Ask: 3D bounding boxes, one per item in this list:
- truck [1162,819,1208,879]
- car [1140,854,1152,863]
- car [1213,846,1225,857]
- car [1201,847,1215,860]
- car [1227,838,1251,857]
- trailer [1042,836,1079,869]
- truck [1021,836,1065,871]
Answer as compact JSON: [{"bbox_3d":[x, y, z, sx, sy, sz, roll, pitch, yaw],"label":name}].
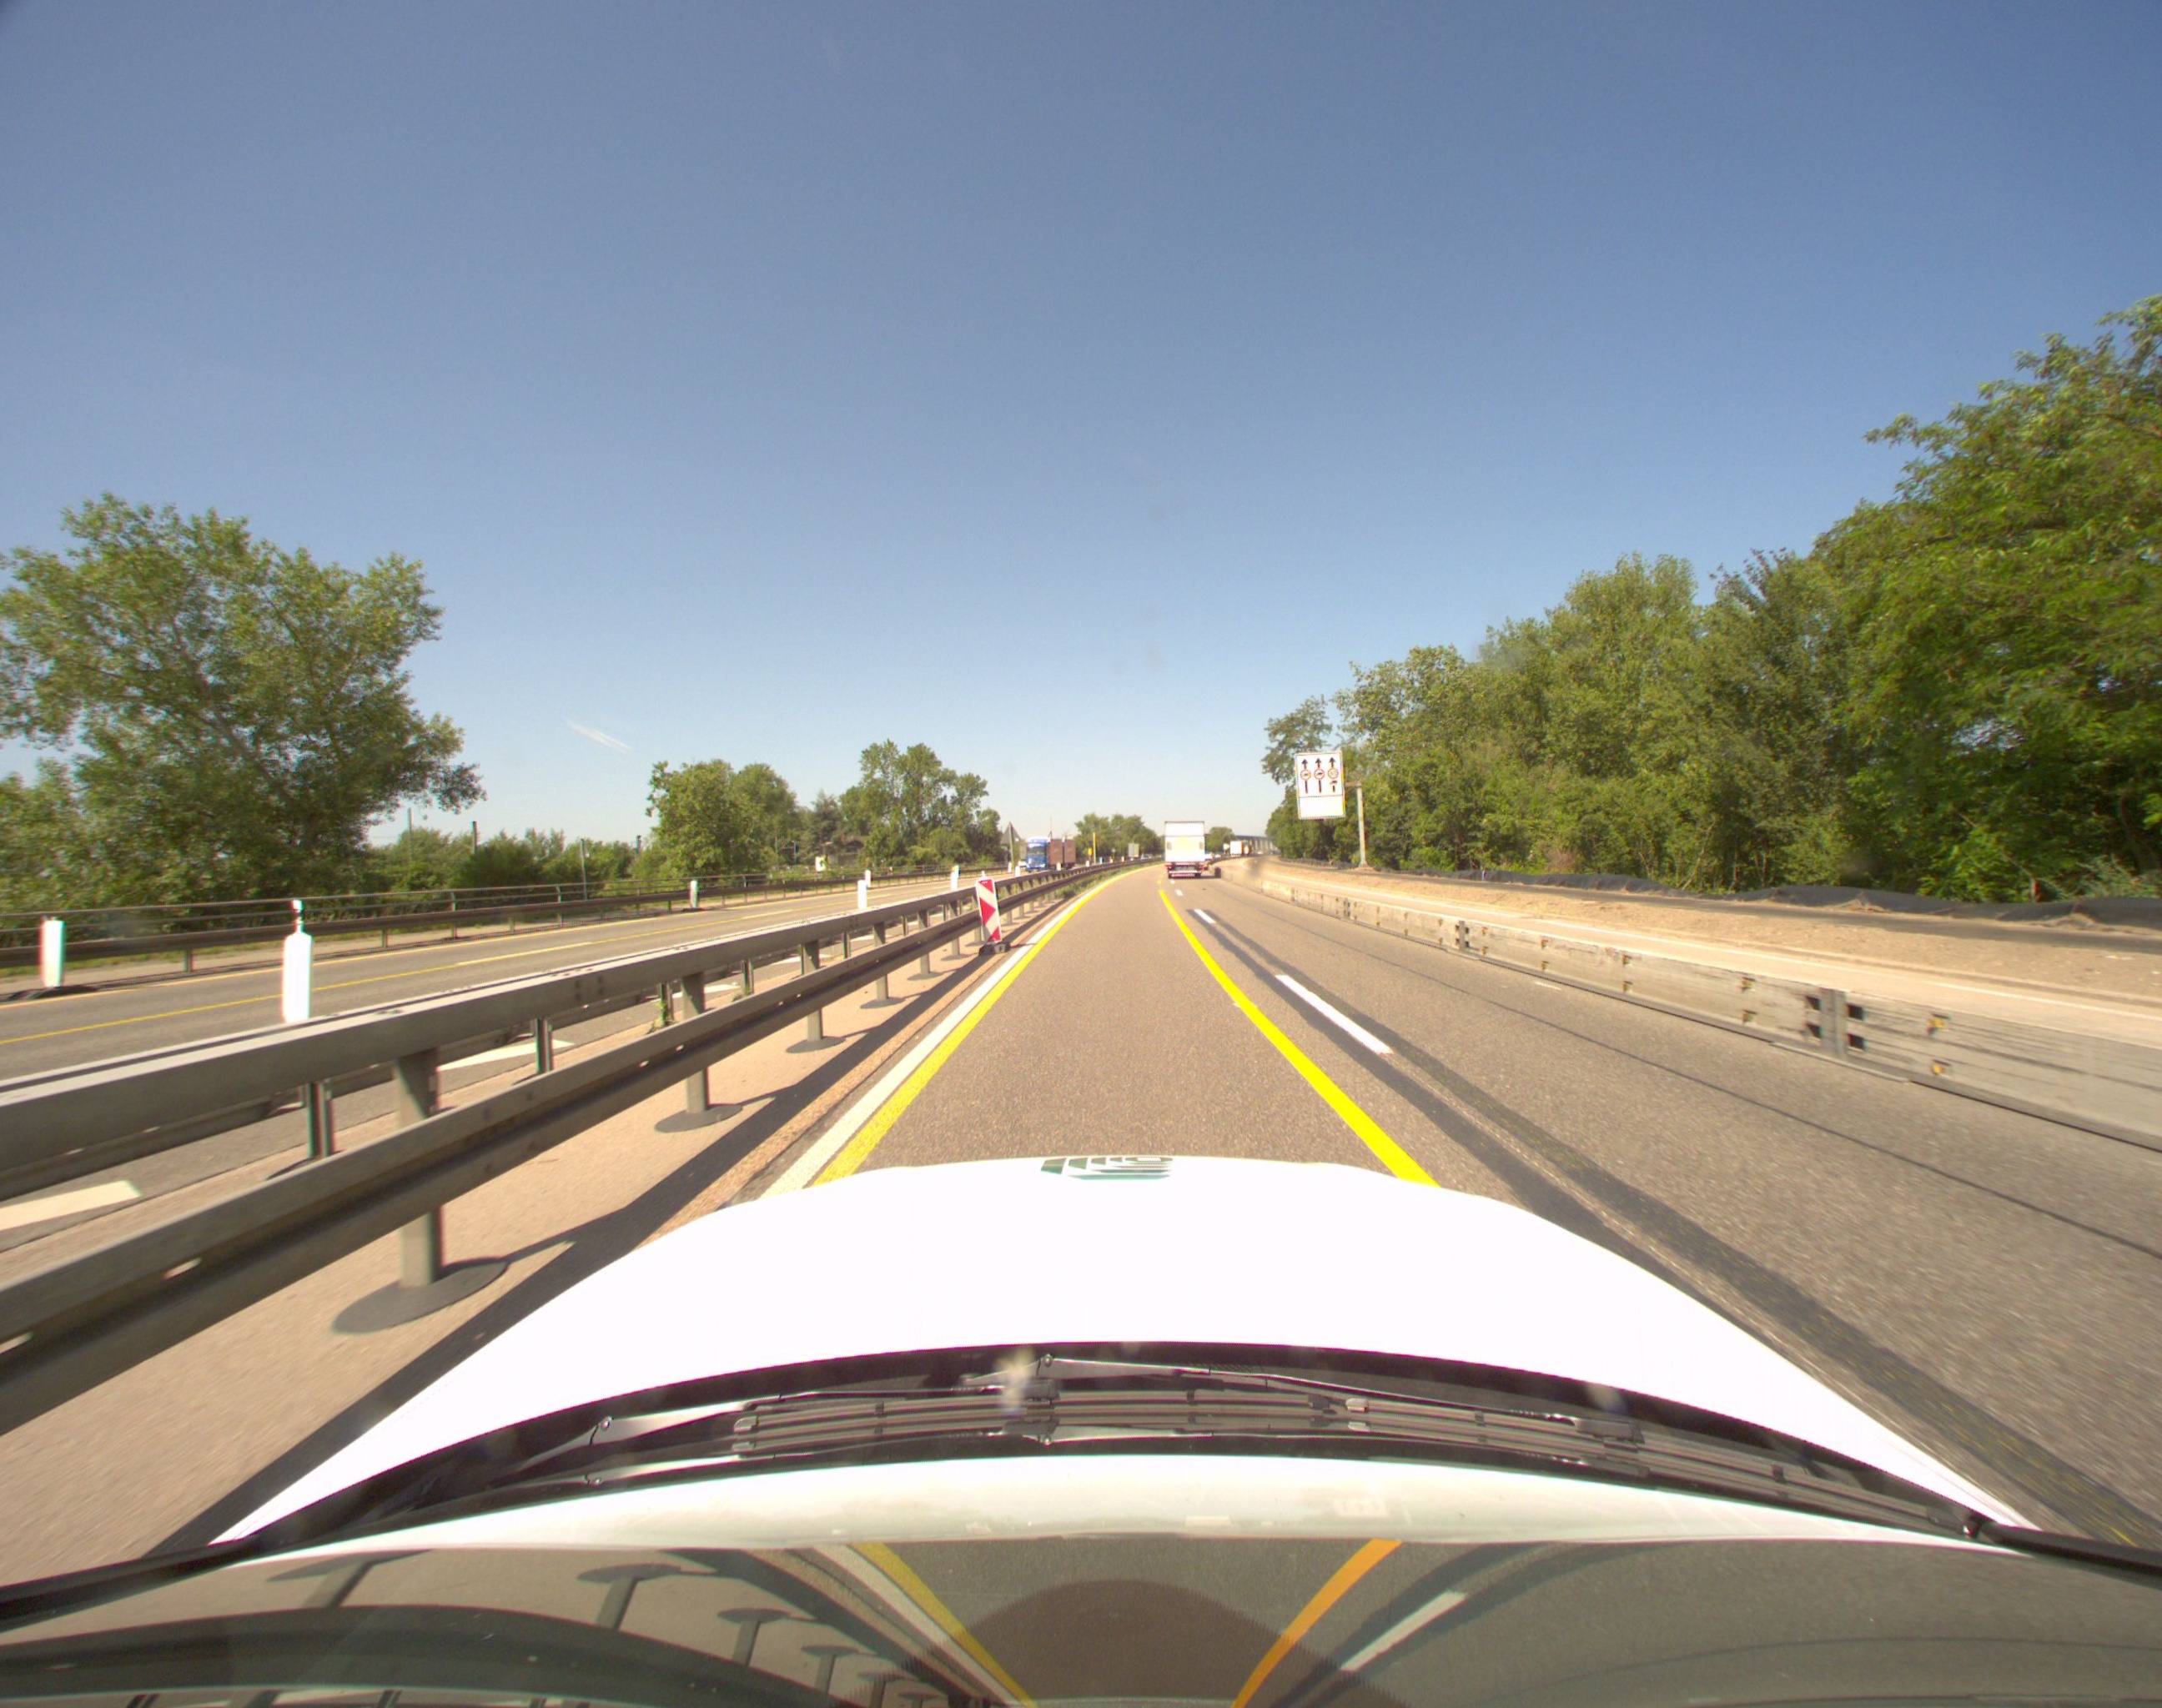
[{"bbox_3d":[6.375,-0.315,50.659,2.621,3.427,7.244,0,0,5],"label":"truck"},{"bbox_3d":[13.175,0.951,165.934,1.897,1.651,4.389,-3,0,10],"label":"car"},{"bbox_3d":[27.413,-0.417,161.424,1.979,2.013,4.016,-4,0,15],"label":"car"},{"bbox_3d":[21.689,-0.034,138.929,1.981,2.013,4.013,-4,0,11],"label":"car"},{"bbox_3d":[38.546,-1.691,198.452,4.173,4.251,10.712,-4,0,18],"label":"car"},{"bbox_3d":[-2.684,-0.223,109.302,3.019,4.091,9.816,-1,0,10],"label":"trailer"},{"bbox_3d":[-4.471,-0.105,99.186,3.019,4.091,10.654,-1,0,10],"label":"truck"}]
